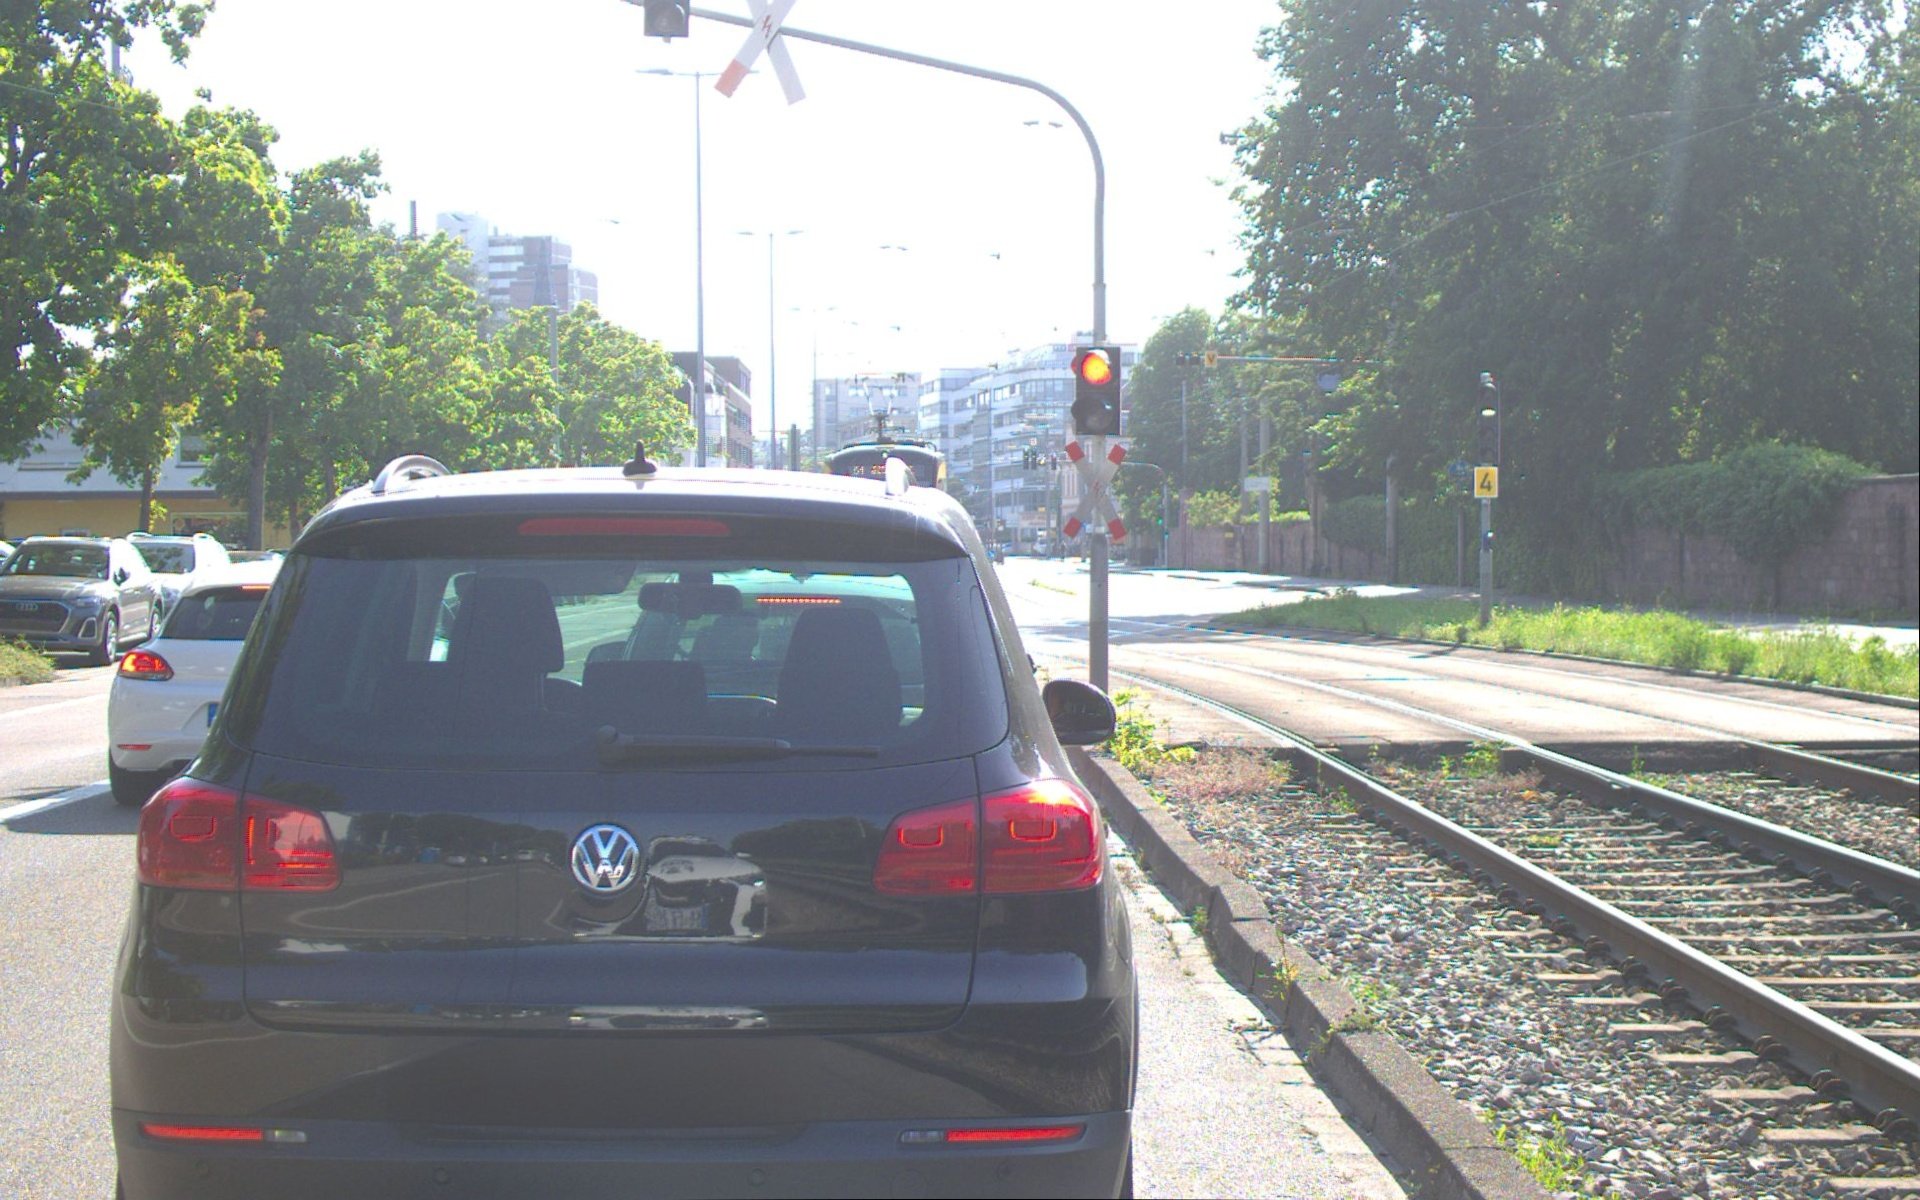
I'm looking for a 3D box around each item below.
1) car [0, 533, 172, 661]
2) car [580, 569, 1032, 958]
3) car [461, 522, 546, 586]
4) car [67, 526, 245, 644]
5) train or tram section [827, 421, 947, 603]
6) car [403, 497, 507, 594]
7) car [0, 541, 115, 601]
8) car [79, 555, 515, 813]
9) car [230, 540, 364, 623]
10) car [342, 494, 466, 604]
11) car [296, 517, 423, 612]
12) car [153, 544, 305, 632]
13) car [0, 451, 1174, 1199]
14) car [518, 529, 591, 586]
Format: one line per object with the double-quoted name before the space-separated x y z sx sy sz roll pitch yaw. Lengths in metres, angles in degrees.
"car" -12.062 -0.076 46.692 1.732 1.652 4.000 -1 1 1
"car" -0.594 0.592 14.821 1.669 1.382 4.000 -1 1 -1
"car" -12.577 -1.278 94.873 1.732 1.689 4.000 -1 2 1
"car" -12.279 -0.263 52.748 1.732 1.689 4.000 -1 2 1
"train or tram section" -1.483 -1.829 72.324 2.326 3.558 8.901 -1 1 -1
"car" -12.191 -1.328 83.224 1.732 2.261 4.645 -1 1 1
"car" -22.498 -0.704 82.642 3.986 1.392 1.738 -1 1 -4
"car" -3.819 0.426 20.457 1.864 1.343 4.000 0 1 -1
"car" -12.379 -0.372 64.408 1.732 1.445 3.735 -1 2 1
"car" -12.303 -1.152 76.396 1.863 2.339 4.985 -1 1 1
"car" -12.140 -0.751 69.727 1.732 1.853 4.489 -1 1 1
"car" -12.403 -0.235 58.530 1.732 1.384 3.735 -1 2 1
"car" -0.603 0.567 7.337 1.811 1.639 4.000 1 1 -1
"car" -12.505 -1.335 106.259 1.732 1.689 4.000 -1 2 1
